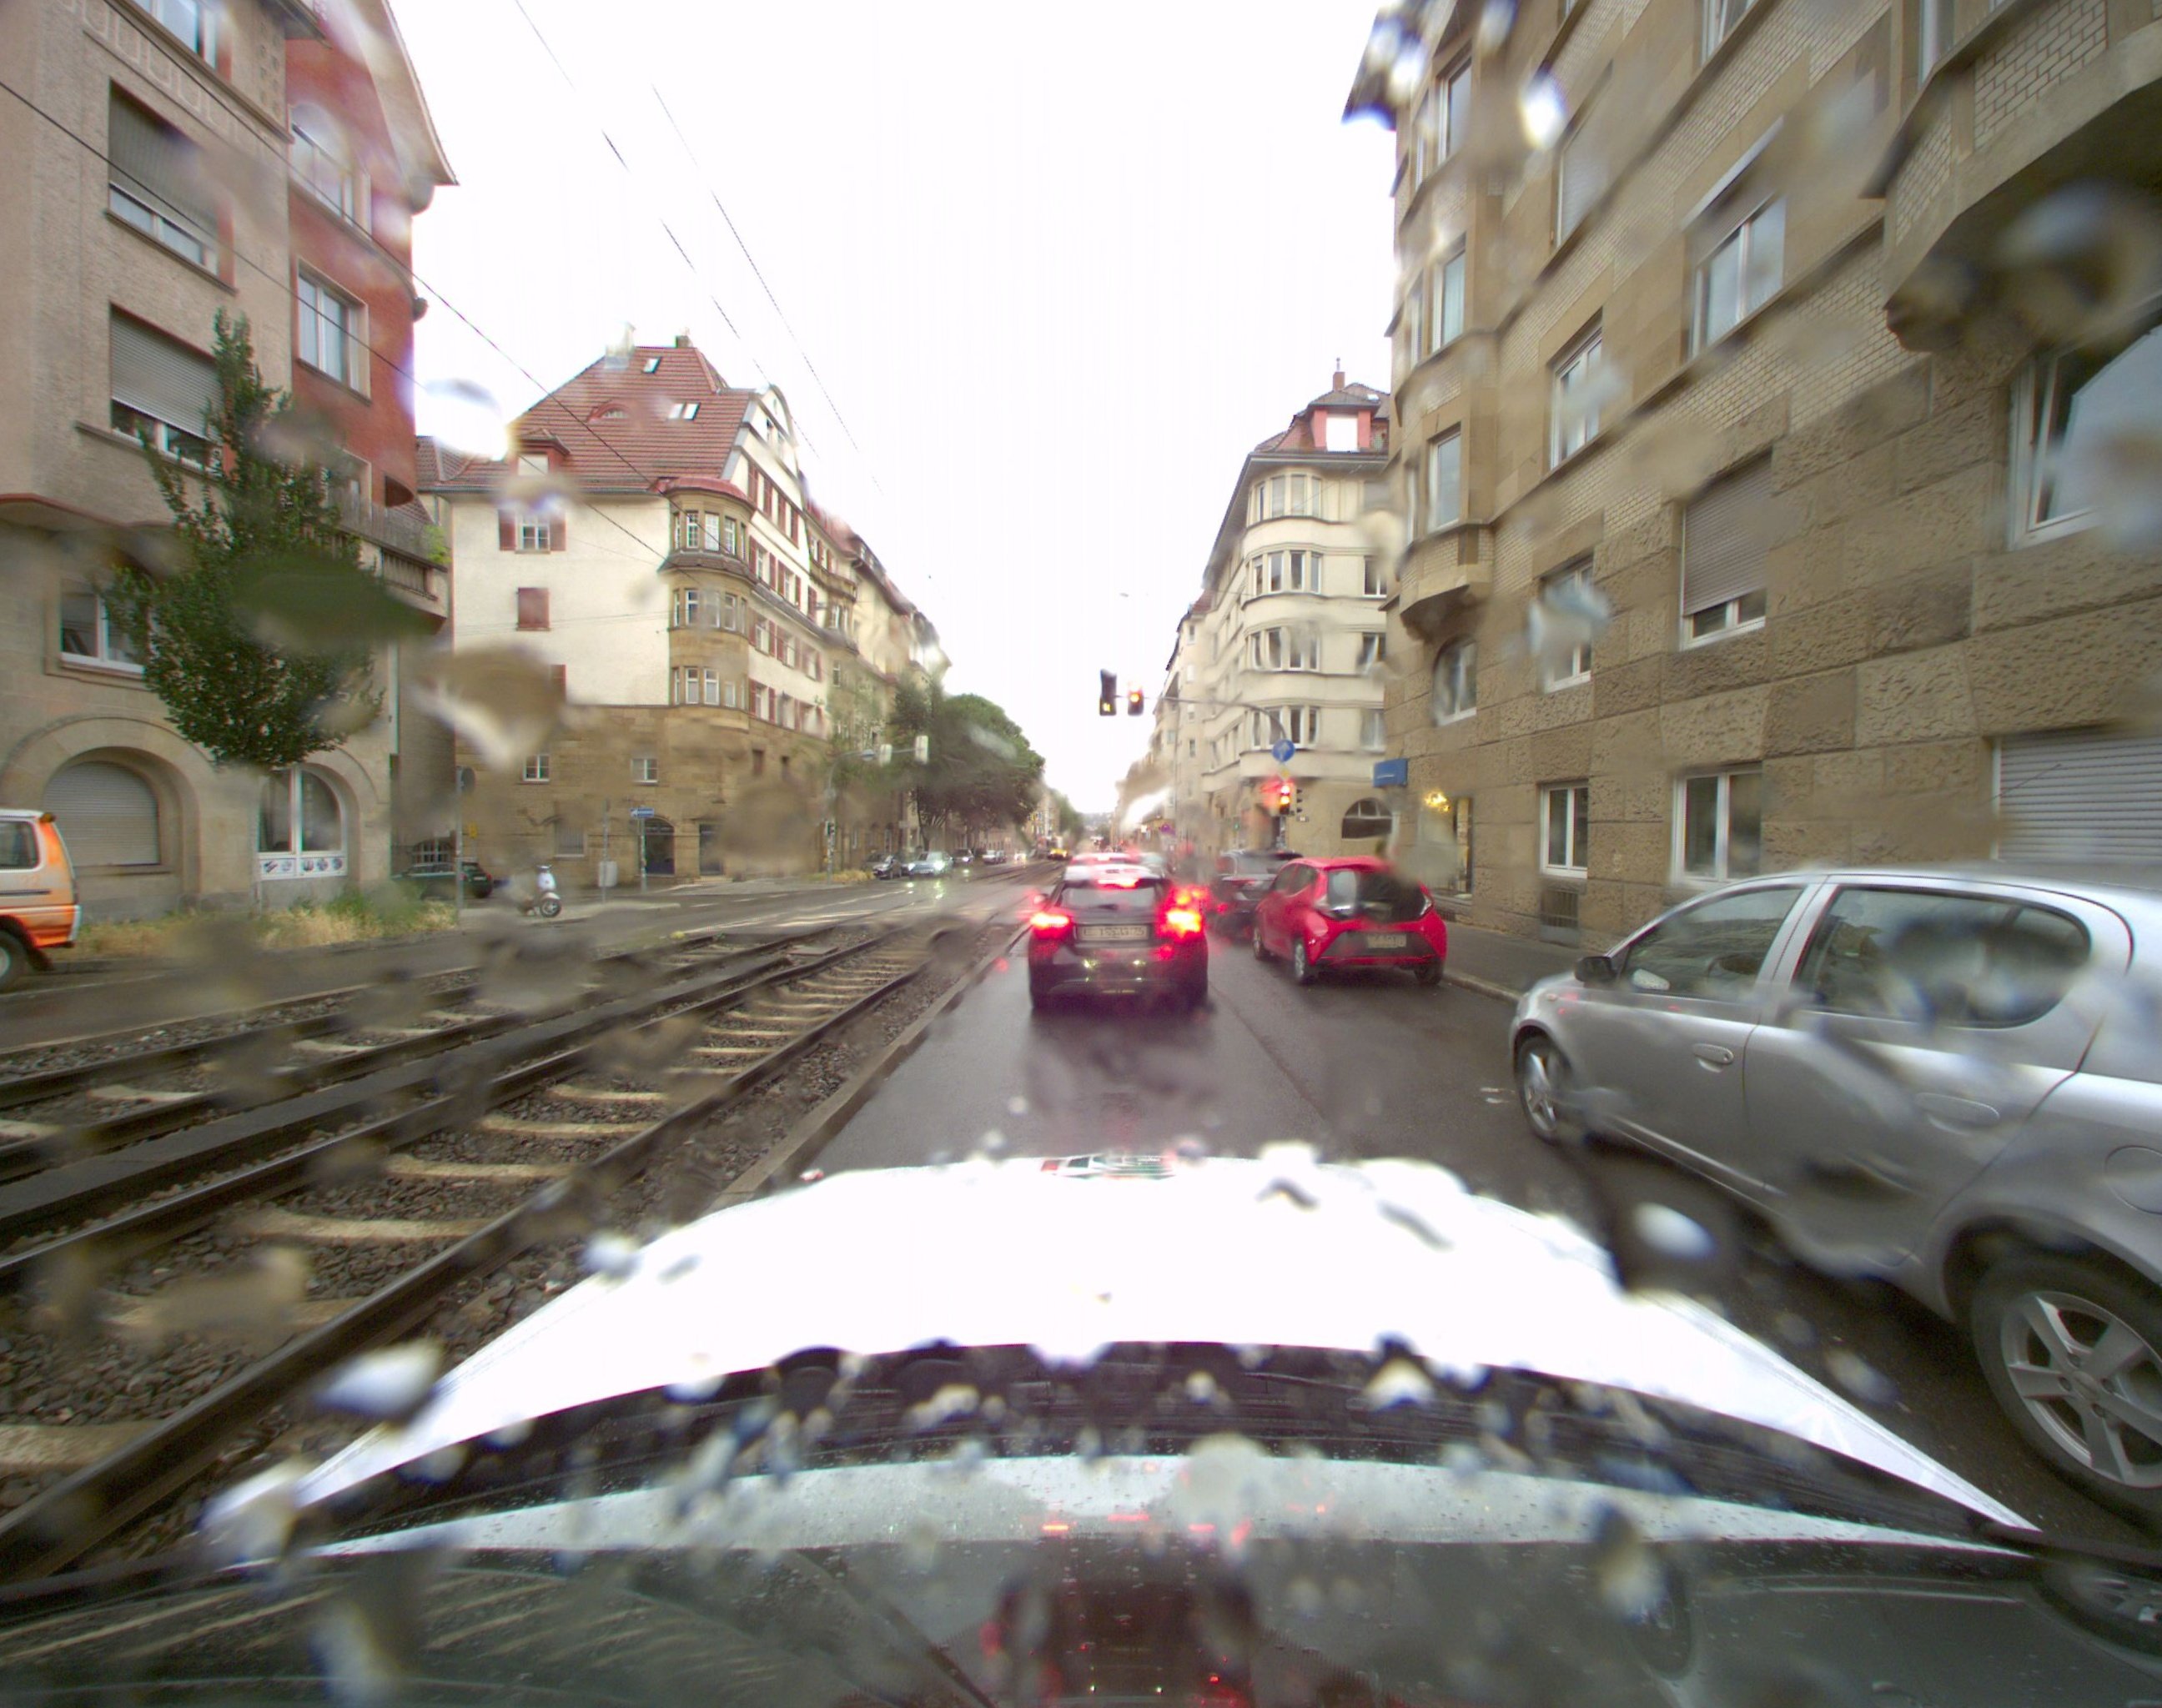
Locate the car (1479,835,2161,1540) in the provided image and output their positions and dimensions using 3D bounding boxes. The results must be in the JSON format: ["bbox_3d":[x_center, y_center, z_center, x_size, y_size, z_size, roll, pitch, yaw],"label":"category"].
[{"bbox_3d":[3.112,0.690,3.073,1.588,1.487,3.524,-1,0,2],"label":"car"}]

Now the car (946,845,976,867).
[{"bbox_3d":[-10.644,0.137,72.560,1.946,1.742,4.779,3,1,0],"label":"car"}]

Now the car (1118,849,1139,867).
[{"bbox_3d":[4.395,0.384,74.538,1.833,1.608,4.765,0,0,4],"label":"car"}]

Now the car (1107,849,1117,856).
[{"bbox_3d":[6.360,-0.308,165.664,1.879,1.525,4.249,1,0,3],"label":"car"}]

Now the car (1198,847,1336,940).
[{"bbox_3d":[3.443,0.673,15.808,1.860,1.549,3.992,1,0,2],"label":"car"}]

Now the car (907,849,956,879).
[{"bbox_3d":[-8.261,0.554,45.349,1.915,1.617,4.128,0,-1,0],"label":"car"}]

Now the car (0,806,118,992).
[{"bbox_3d":[-12.079,0.464,7.218,1.722,1.930,4.476,0,-1,0],"label":"car"}]

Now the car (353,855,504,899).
[{"bbox_3d":[-24.446,0.849,30.618,3.977,1.574,1.998,0,-1,-2],"label":"car"}]

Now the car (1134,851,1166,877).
[{"bbox_3d":[4.117,0.598,49.024,1.705,1.468,4.775,0,0,2],"label":"car"}]

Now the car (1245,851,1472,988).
[{"bbox_3d":[3.346,0.708,10.534,1.700,1.453,3.531,1,0,-1],"label":"car"}]

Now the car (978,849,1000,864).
[{"bbox_3d":[-10.120,0.258,89.880,1.954,1.605,4.329,1,1,1],"label":"car"}]

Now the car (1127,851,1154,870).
[{"bbox_3d":[4.491,0.516,61.979,1.783,1.385,4.396,0,0,1],"label":"car"}]

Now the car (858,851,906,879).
[{"bbox_3d":[-11.190,0.618,46.098,1.684,1.529,4.175,0,-1,0],"label":"car"}]

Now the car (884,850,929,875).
[{"bbox_3d":[-10.993,0.543,51.654,1.775,1.460,4.978,0,0,0],"label":"car"}]

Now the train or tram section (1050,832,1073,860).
[{"bbox_3d":[-2.927,-1.203,126.371,2.736,4.061,17.216,0,0,1],"label":"train or tram section"}]

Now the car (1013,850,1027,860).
[{"bbox_3d":[-9.103,0.144,122.210,1.775,1.502,4.062,0,-1,0],"label":"car"}]

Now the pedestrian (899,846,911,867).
[{"bbox_3d":[-14.033,0.218,64.879,0.726,1.663,0.771,0,0,1],"label":"pedestrian"}]

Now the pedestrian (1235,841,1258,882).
[{"bbox_3d":[6.926,0.297,34.066,0.801,1.687,0.754,0,-1,1],"label":"pedestrian"}]

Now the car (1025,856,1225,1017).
[{"bbox_3d":[0.465,0.762,9.409,1.828,1.453,3.903,0,0,2],"label":"car"}]

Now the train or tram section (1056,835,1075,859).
[{"bbox_3d":[-2.644,-1.224,142.564,2.736,4.061,15.663,0,0,1],"label":"train or tram section"}]

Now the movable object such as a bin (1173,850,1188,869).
[{"bbox_3d":[7.481,0.415,61.310,1.014,1.468,1.323,0,-1,1],"label":"movable object such as a bin"}]

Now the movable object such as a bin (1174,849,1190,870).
[{"bbox_3d":[7.415,0.403,59.814,0.976,1.468,1.273,0,-1,1],"label":"movable object such as a bin"}]

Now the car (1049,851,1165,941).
[{"bbox_3d":[0.517,0.723,16.224,1.986,1.525,4.247,1,0,2],"label":"car"}]

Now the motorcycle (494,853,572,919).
[{"bbox_3d":[-12.014,0.674,17.847,1.761,1.375,0.772,-1,-1,33],"label":"motorcycle"}]

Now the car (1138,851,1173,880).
[{"bbox_3d":[3.917,0.600,43.657,1.703,1.410,4.821,0,0,3],"label":"car"}]
